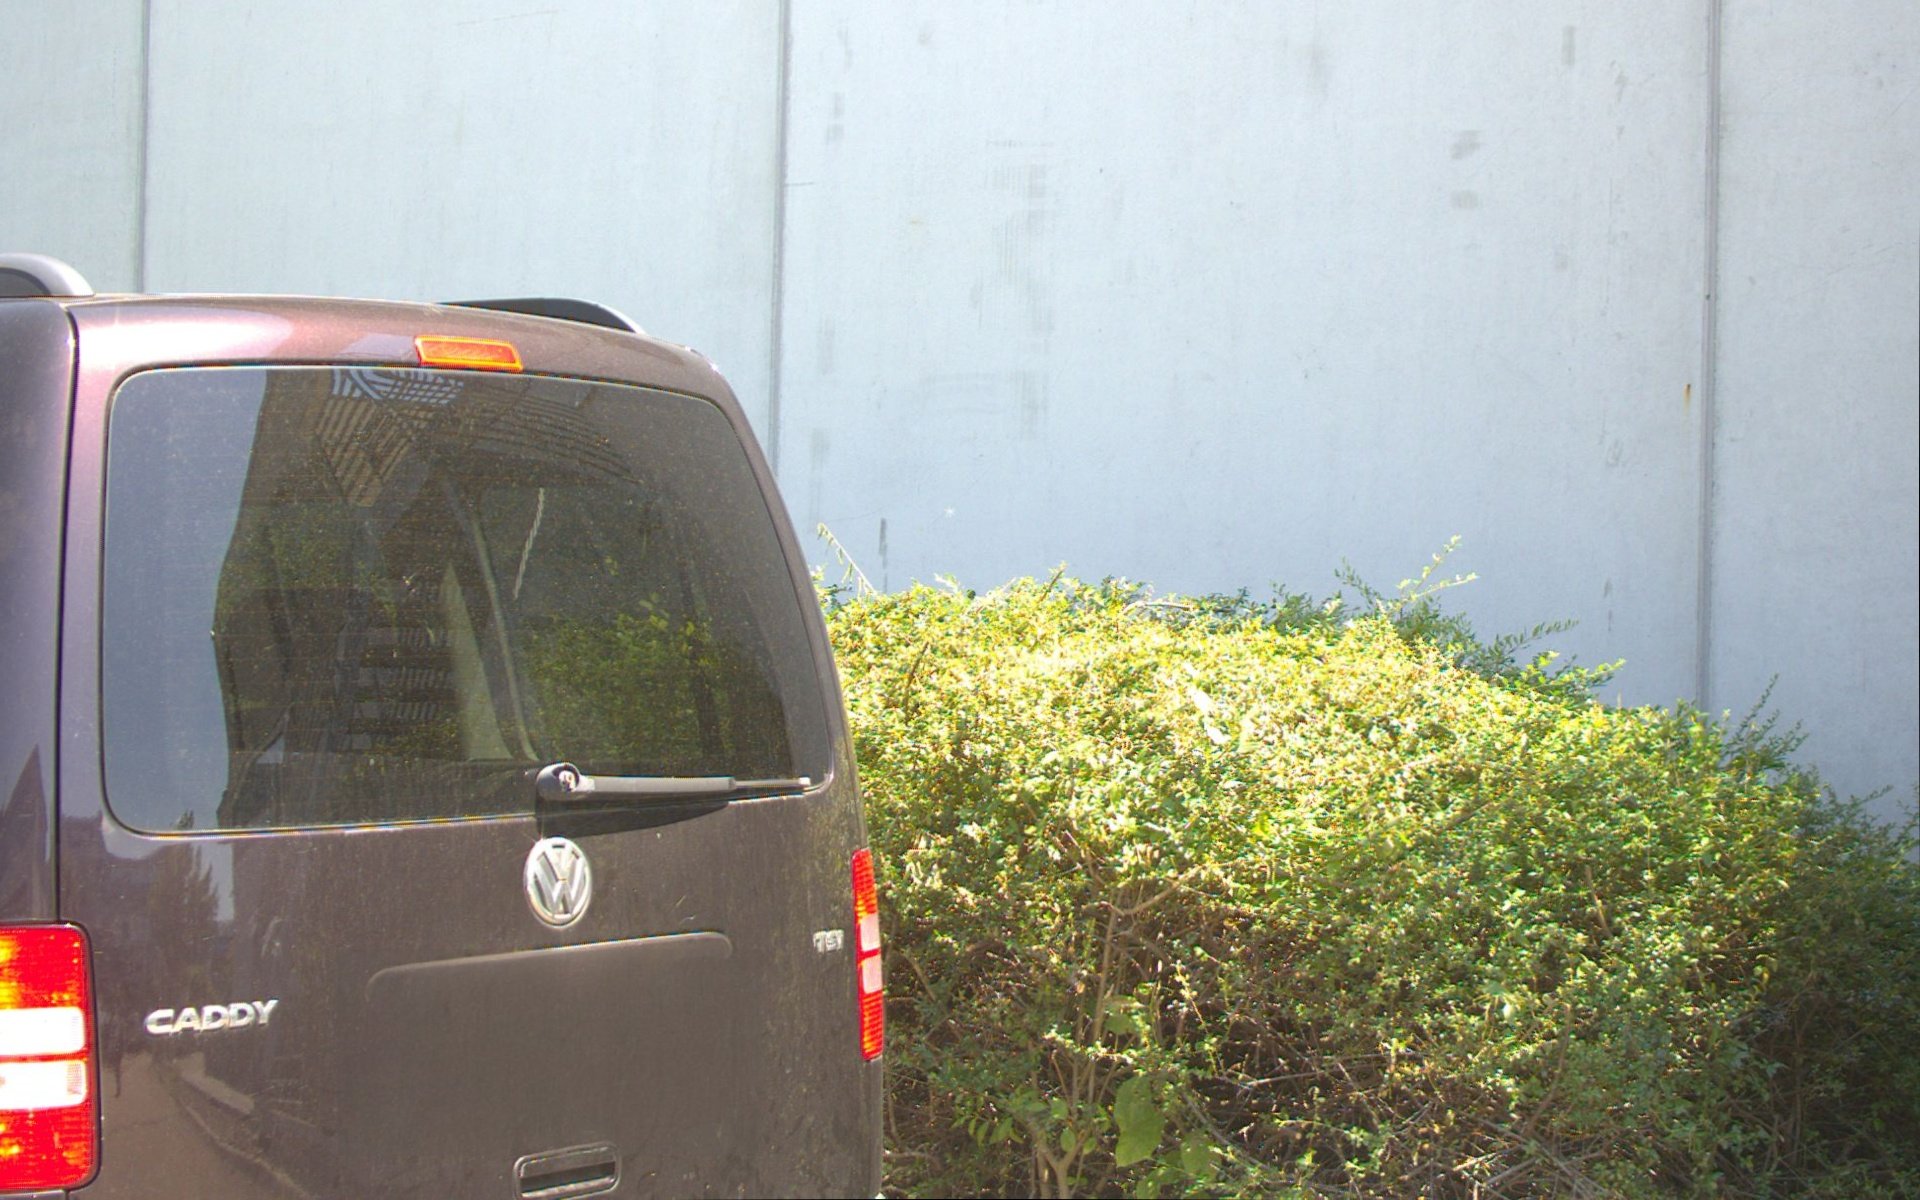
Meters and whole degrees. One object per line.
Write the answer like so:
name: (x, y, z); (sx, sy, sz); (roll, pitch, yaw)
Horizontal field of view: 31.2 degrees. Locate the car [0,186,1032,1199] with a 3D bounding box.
car: (-2.003, 0.473, 5.535); (4.068, 1.877, 1.675); (1, 1, 40)
